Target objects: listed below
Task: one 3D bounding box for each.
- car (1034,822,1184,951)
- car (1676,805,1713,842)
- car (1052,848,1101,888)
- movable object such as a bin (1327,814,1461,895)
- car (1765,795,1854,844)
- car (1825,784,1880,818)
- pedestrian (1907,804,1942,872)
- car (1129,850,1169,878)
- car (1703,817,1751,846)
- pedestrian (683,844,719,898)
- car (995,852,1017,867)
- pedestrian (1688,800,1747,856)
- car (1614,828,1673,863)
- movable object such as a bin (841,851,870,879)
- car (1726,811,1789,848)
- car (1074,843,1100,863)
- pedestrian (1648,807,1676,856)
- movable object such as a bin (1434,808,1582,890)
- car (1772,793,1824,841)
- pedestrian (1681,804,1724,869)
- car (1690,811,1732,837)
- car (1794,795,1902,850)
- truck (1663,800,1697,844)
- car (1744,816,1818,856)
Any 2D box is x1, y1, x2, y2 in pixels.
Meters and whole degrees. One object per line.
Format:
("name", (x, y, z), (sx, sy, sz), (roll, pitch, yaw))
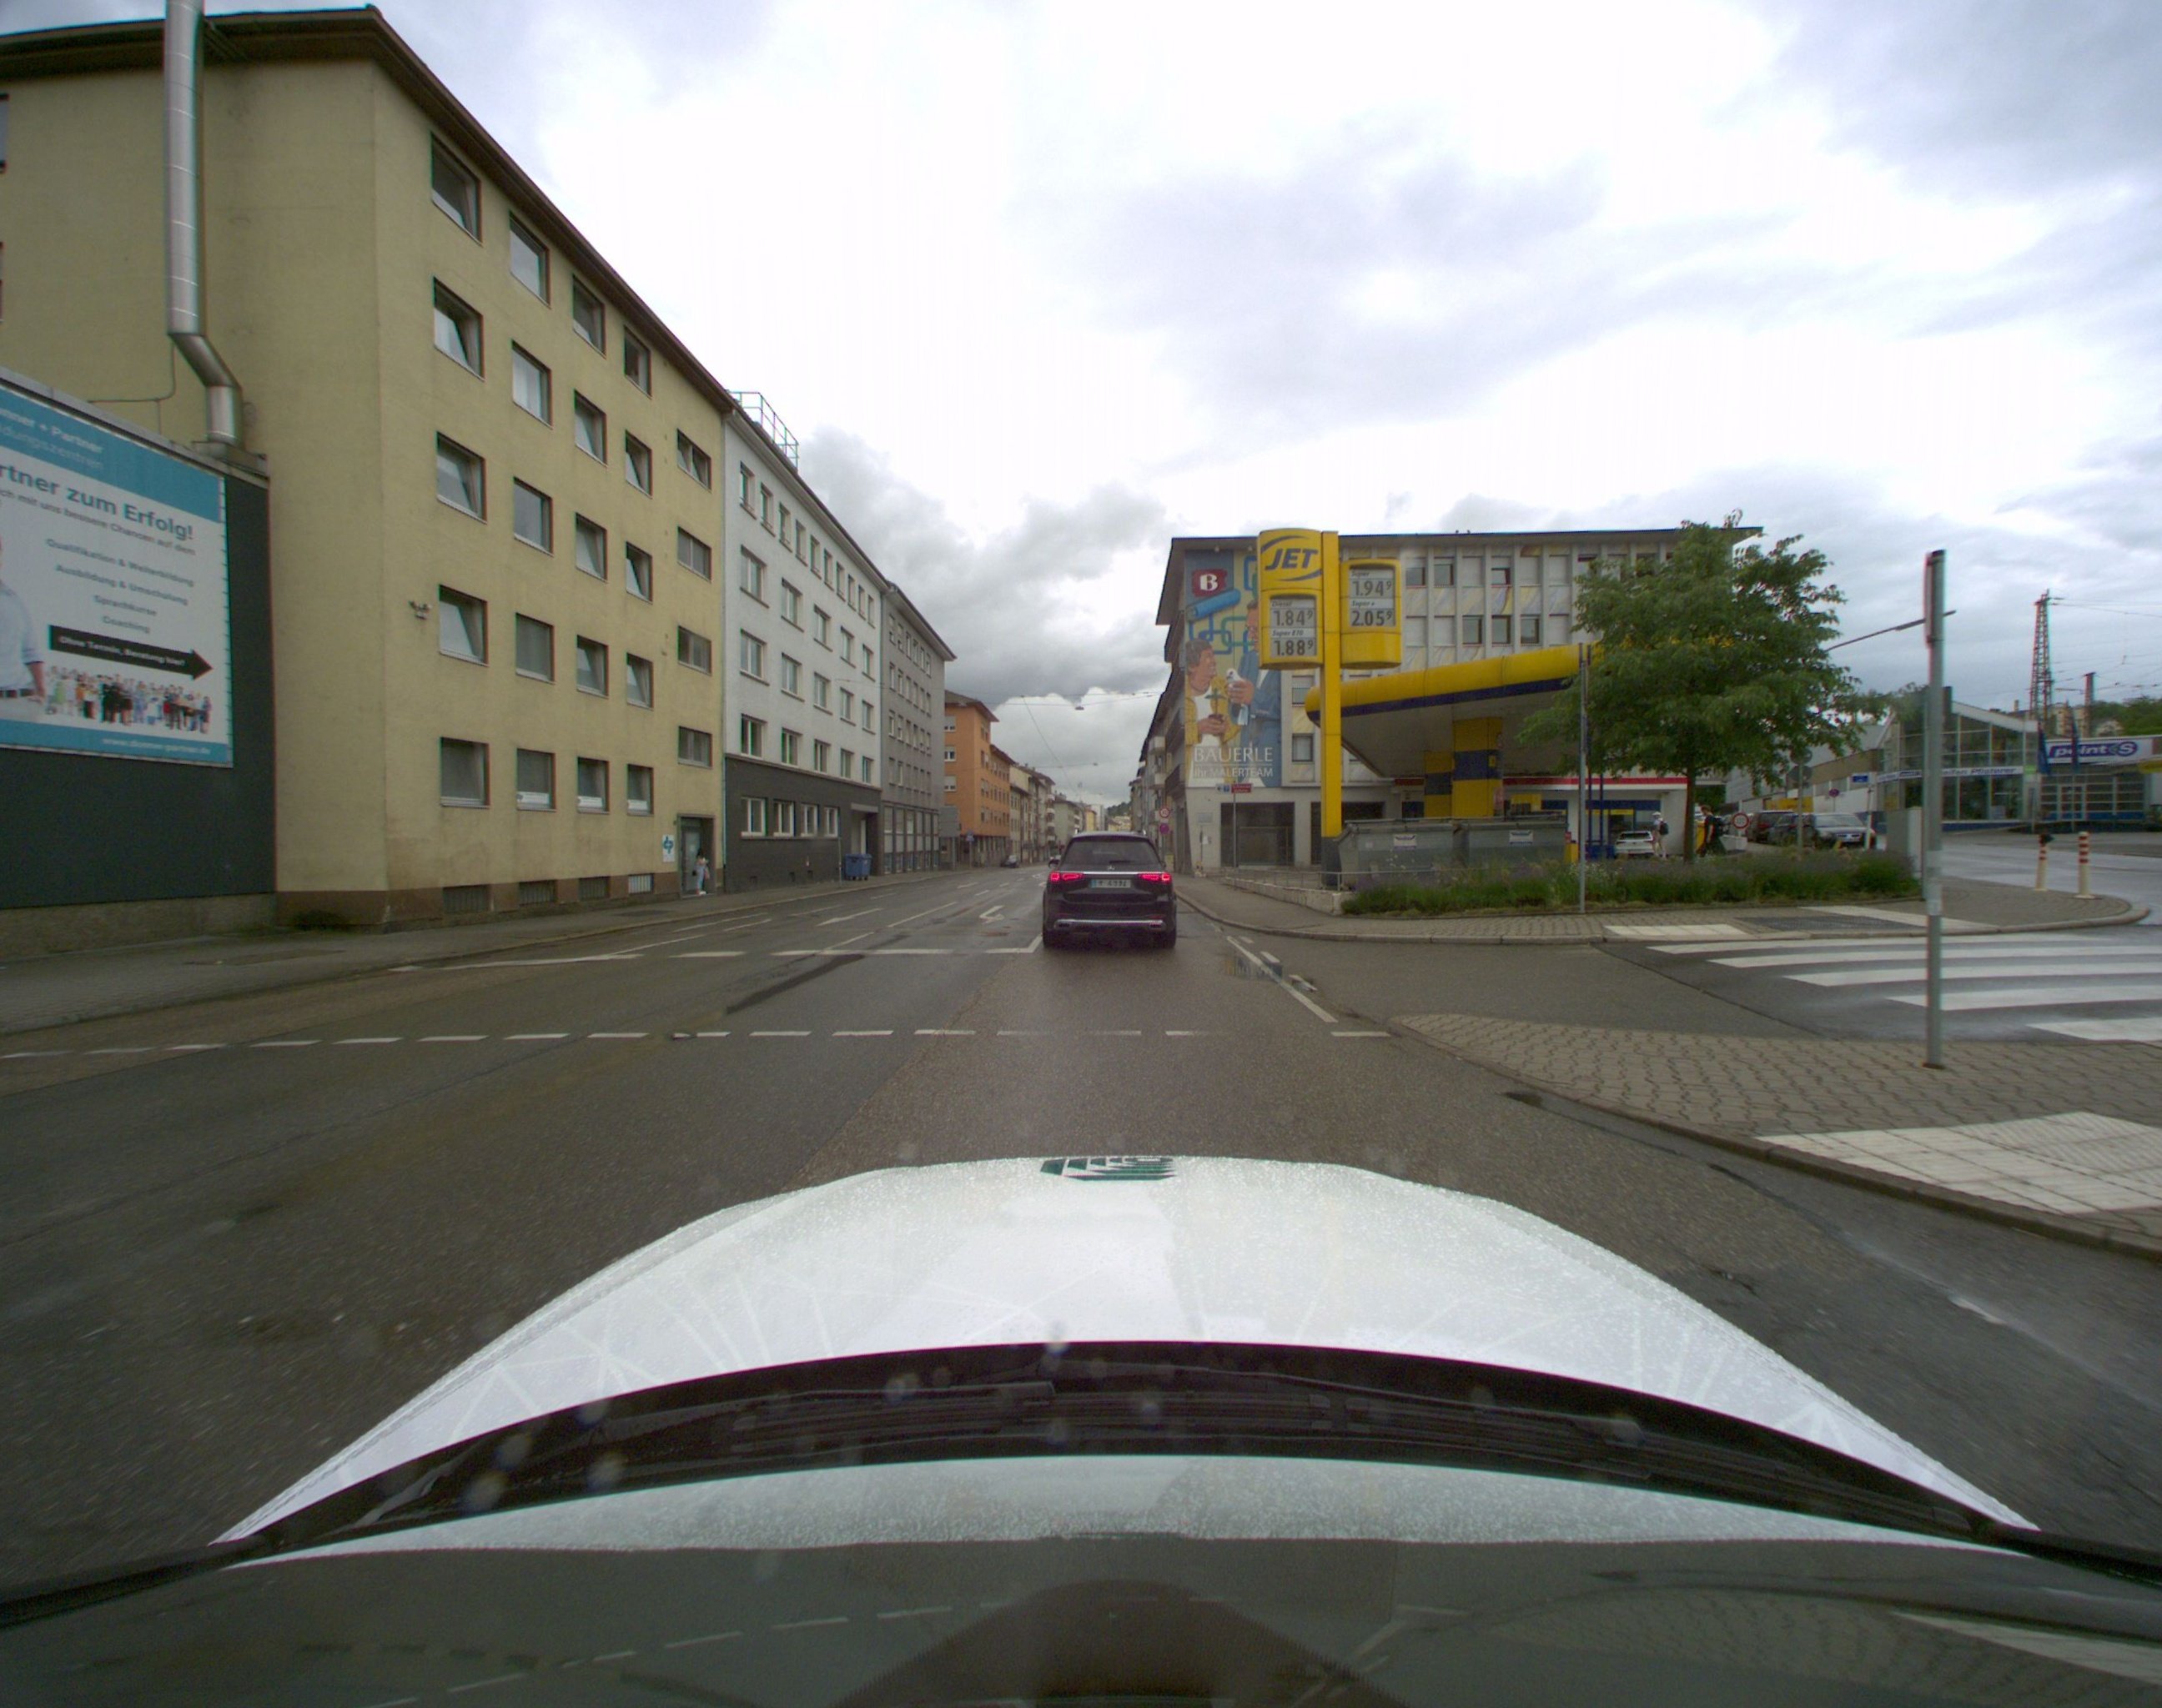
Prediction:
("car", (0.475, 0.432, 13.798), (2.068, 1.765, 4.613), (1, 1, 2))
("car", (52.750, -2.558, 70.124), (1.975, 2.973, 4.608), (1, 0, 31))
("car", (-0.182, 0.553, 34.602), (1.887, 1.510, 4.173), (2, 0, 0))
("movable object such as a bin", (6.427, 0.006, 16.907), (2.147, 1.574, 1.774), (-1, 0, 2))
("car", (31.435, -1.433, 35.270), (1.975, 1.864, 4.608), (2, 0, 31))
("car", (52.259, -3.544, 55.264), (1.974, 2.013, 4.025), (2, 0, 33))
("pedestrian", (19.248, -0.367, 18.588), (0.577, 1.515, 0.474), (1, 0, -39))
("car", (3.950, 0.545, 48.044), (1.887, 1.402, 4.608), (-5, 0, 0))
("car", (45.475, -1.540, 57.416), (1.975, 1.864, 4.608), (2, 0, 31))
("pedestrian", (-12.282, 0.546, 26.355), (0.714, 1.689, 0.812), (1, 0, 4))
("car", (-7.991, 0.542, 87.098), (1.885, 1.458, 4.549), (1, 0, 0))
("pedestrian", (17.837, -0.720, 22.823), (0.922, 1.523, 1.101), (1, 0, -39))
("car", (27.012, -0.357, 39.050), (1.974, 1.516, 4.446), (-2, -2, 39))
("movable object such as a bin", (-11.288, 0.548, 40.848), (1.072, 1.324, 1.191), (1, 0, 2))
("car", (37.750, -1.329, 45.551), (1.975, 1.864, 4.608), (2, 0, 31))
("car", (0.527, -0.112, 70.216), (2.068, 1.649, 4.297), (1, 1, 2))
("pedestrian", (21.369, -0.811, 29.948), (0.671, 1.757, 0.736), (1, 0, 25))
("movable object such as a bin", (8.743, -0.098, 16.830), (2.147, 1.555, 1.774), (-2, 0, 2))
("car", (59.540, -3.024, 67.687), (2.354, 3.687, 5.025), (1, 0, 32))
("pedestrian", (25.091, -0.698, 32.899), (0.997, 2.567, 1.154), (1, 0, 16))
("car", (48.684, -2.301, 62.980), (1.975, 1.864, 4.608), (2, 0, 31))
("car", (28.879, -1.146, 30.844), (1.975, 1.864, 4.608), (2, 0, 31))
("truck", (56.229, -2.974, 76.503), (1.975, 3.914, 5.519), (1, 0, 31))
("car", (34.676, -0.852, 40.458), (1.975, 1.864, 4.608), (2, 0, 31))
